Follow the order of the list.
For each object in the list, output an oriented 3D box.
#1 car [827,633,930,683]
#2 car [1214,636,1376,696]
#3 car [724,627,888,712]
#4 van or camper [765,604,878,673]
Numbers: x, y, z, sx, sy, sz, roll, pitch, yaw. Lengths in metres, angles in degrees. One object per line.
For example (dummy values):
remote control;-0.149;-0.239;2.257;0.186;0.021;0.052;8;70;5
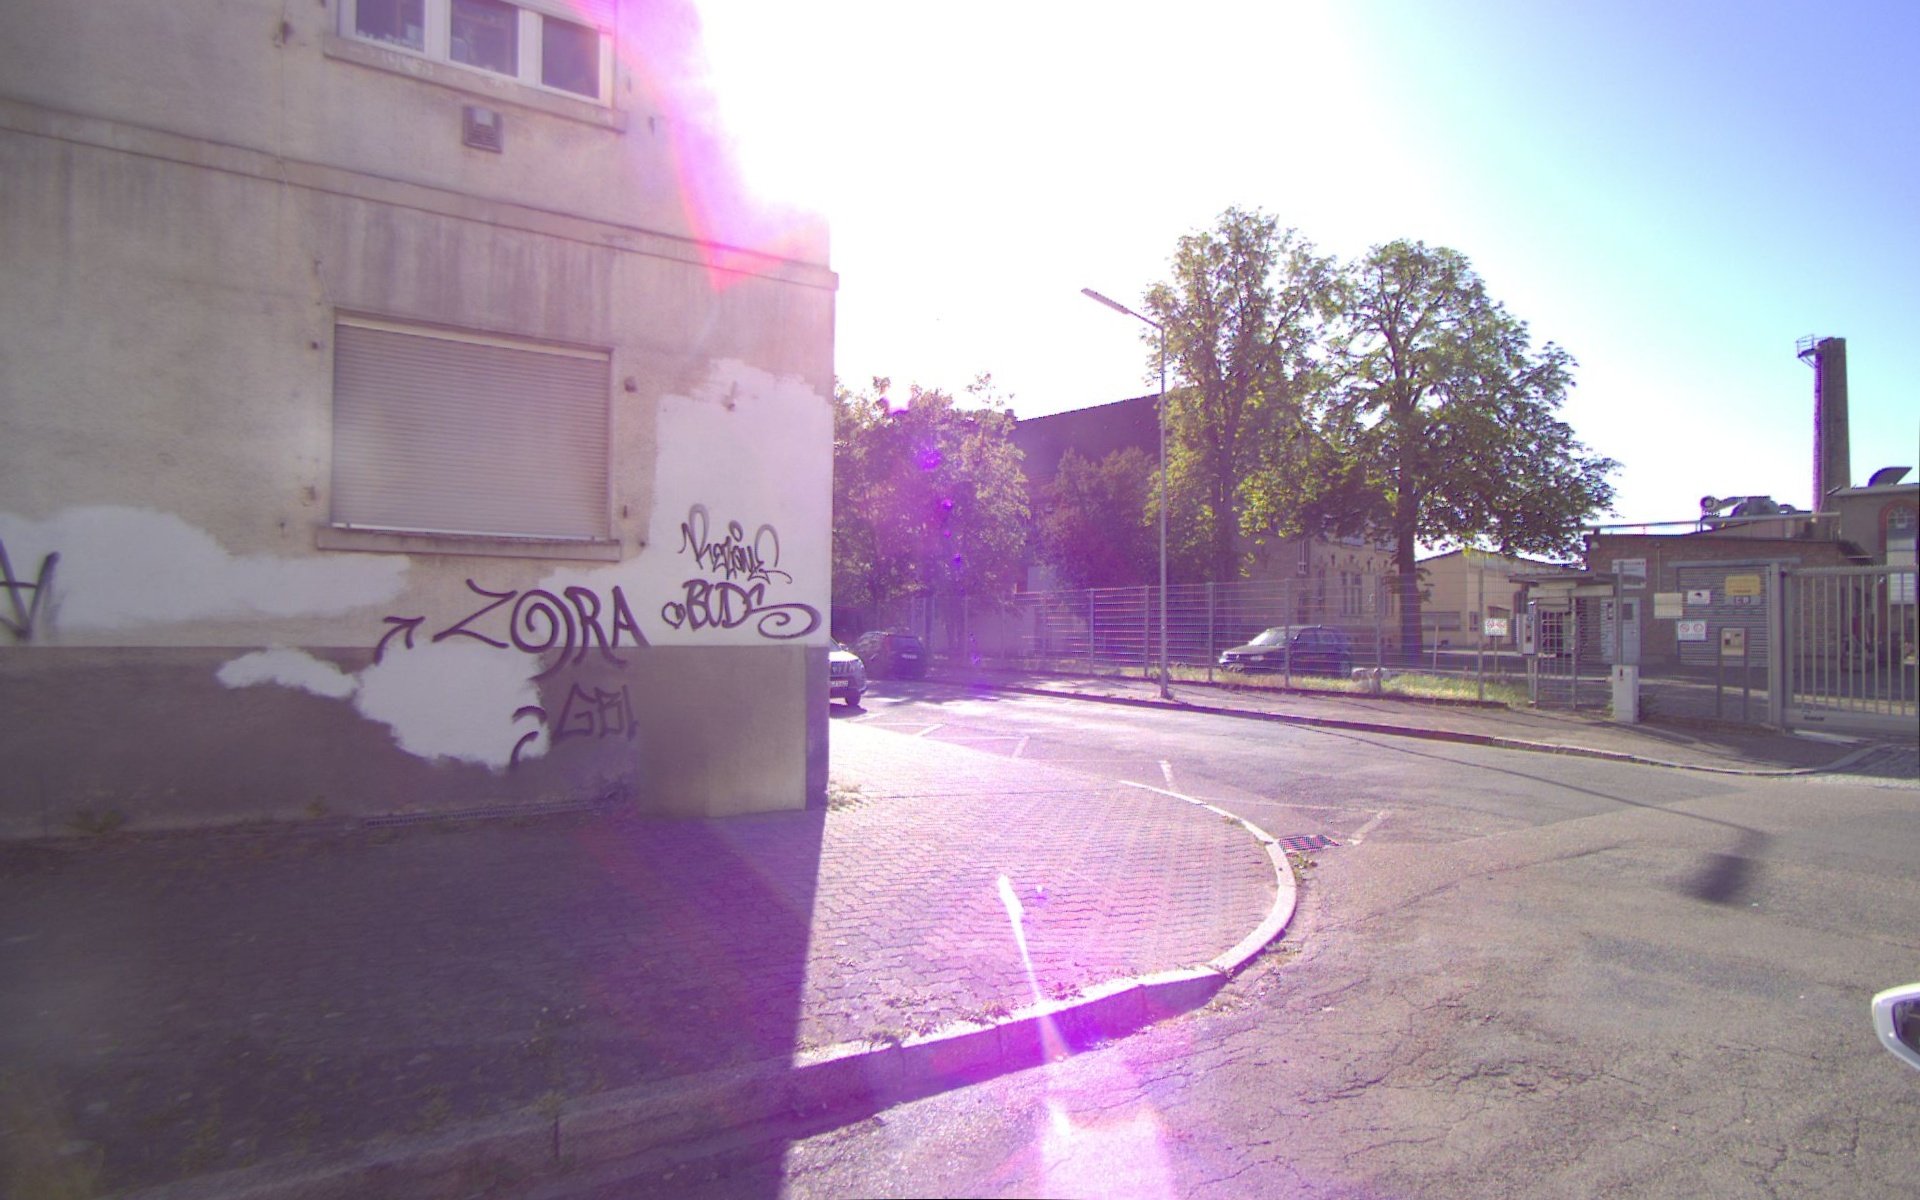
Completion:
car;-2.625;1.761;31.465;1.634;1.435;3.967;1;-2;-31
car;8.761;1.682;26.213;3.955;1.439;1.983;2;-2;-32
car;-3.321;1.363;21.048;2.048;1.573;3.967;1;-2;-31
van or camper;-5.157;1.369;36.610;2.188;2.311;5.266;1;-2;-31
